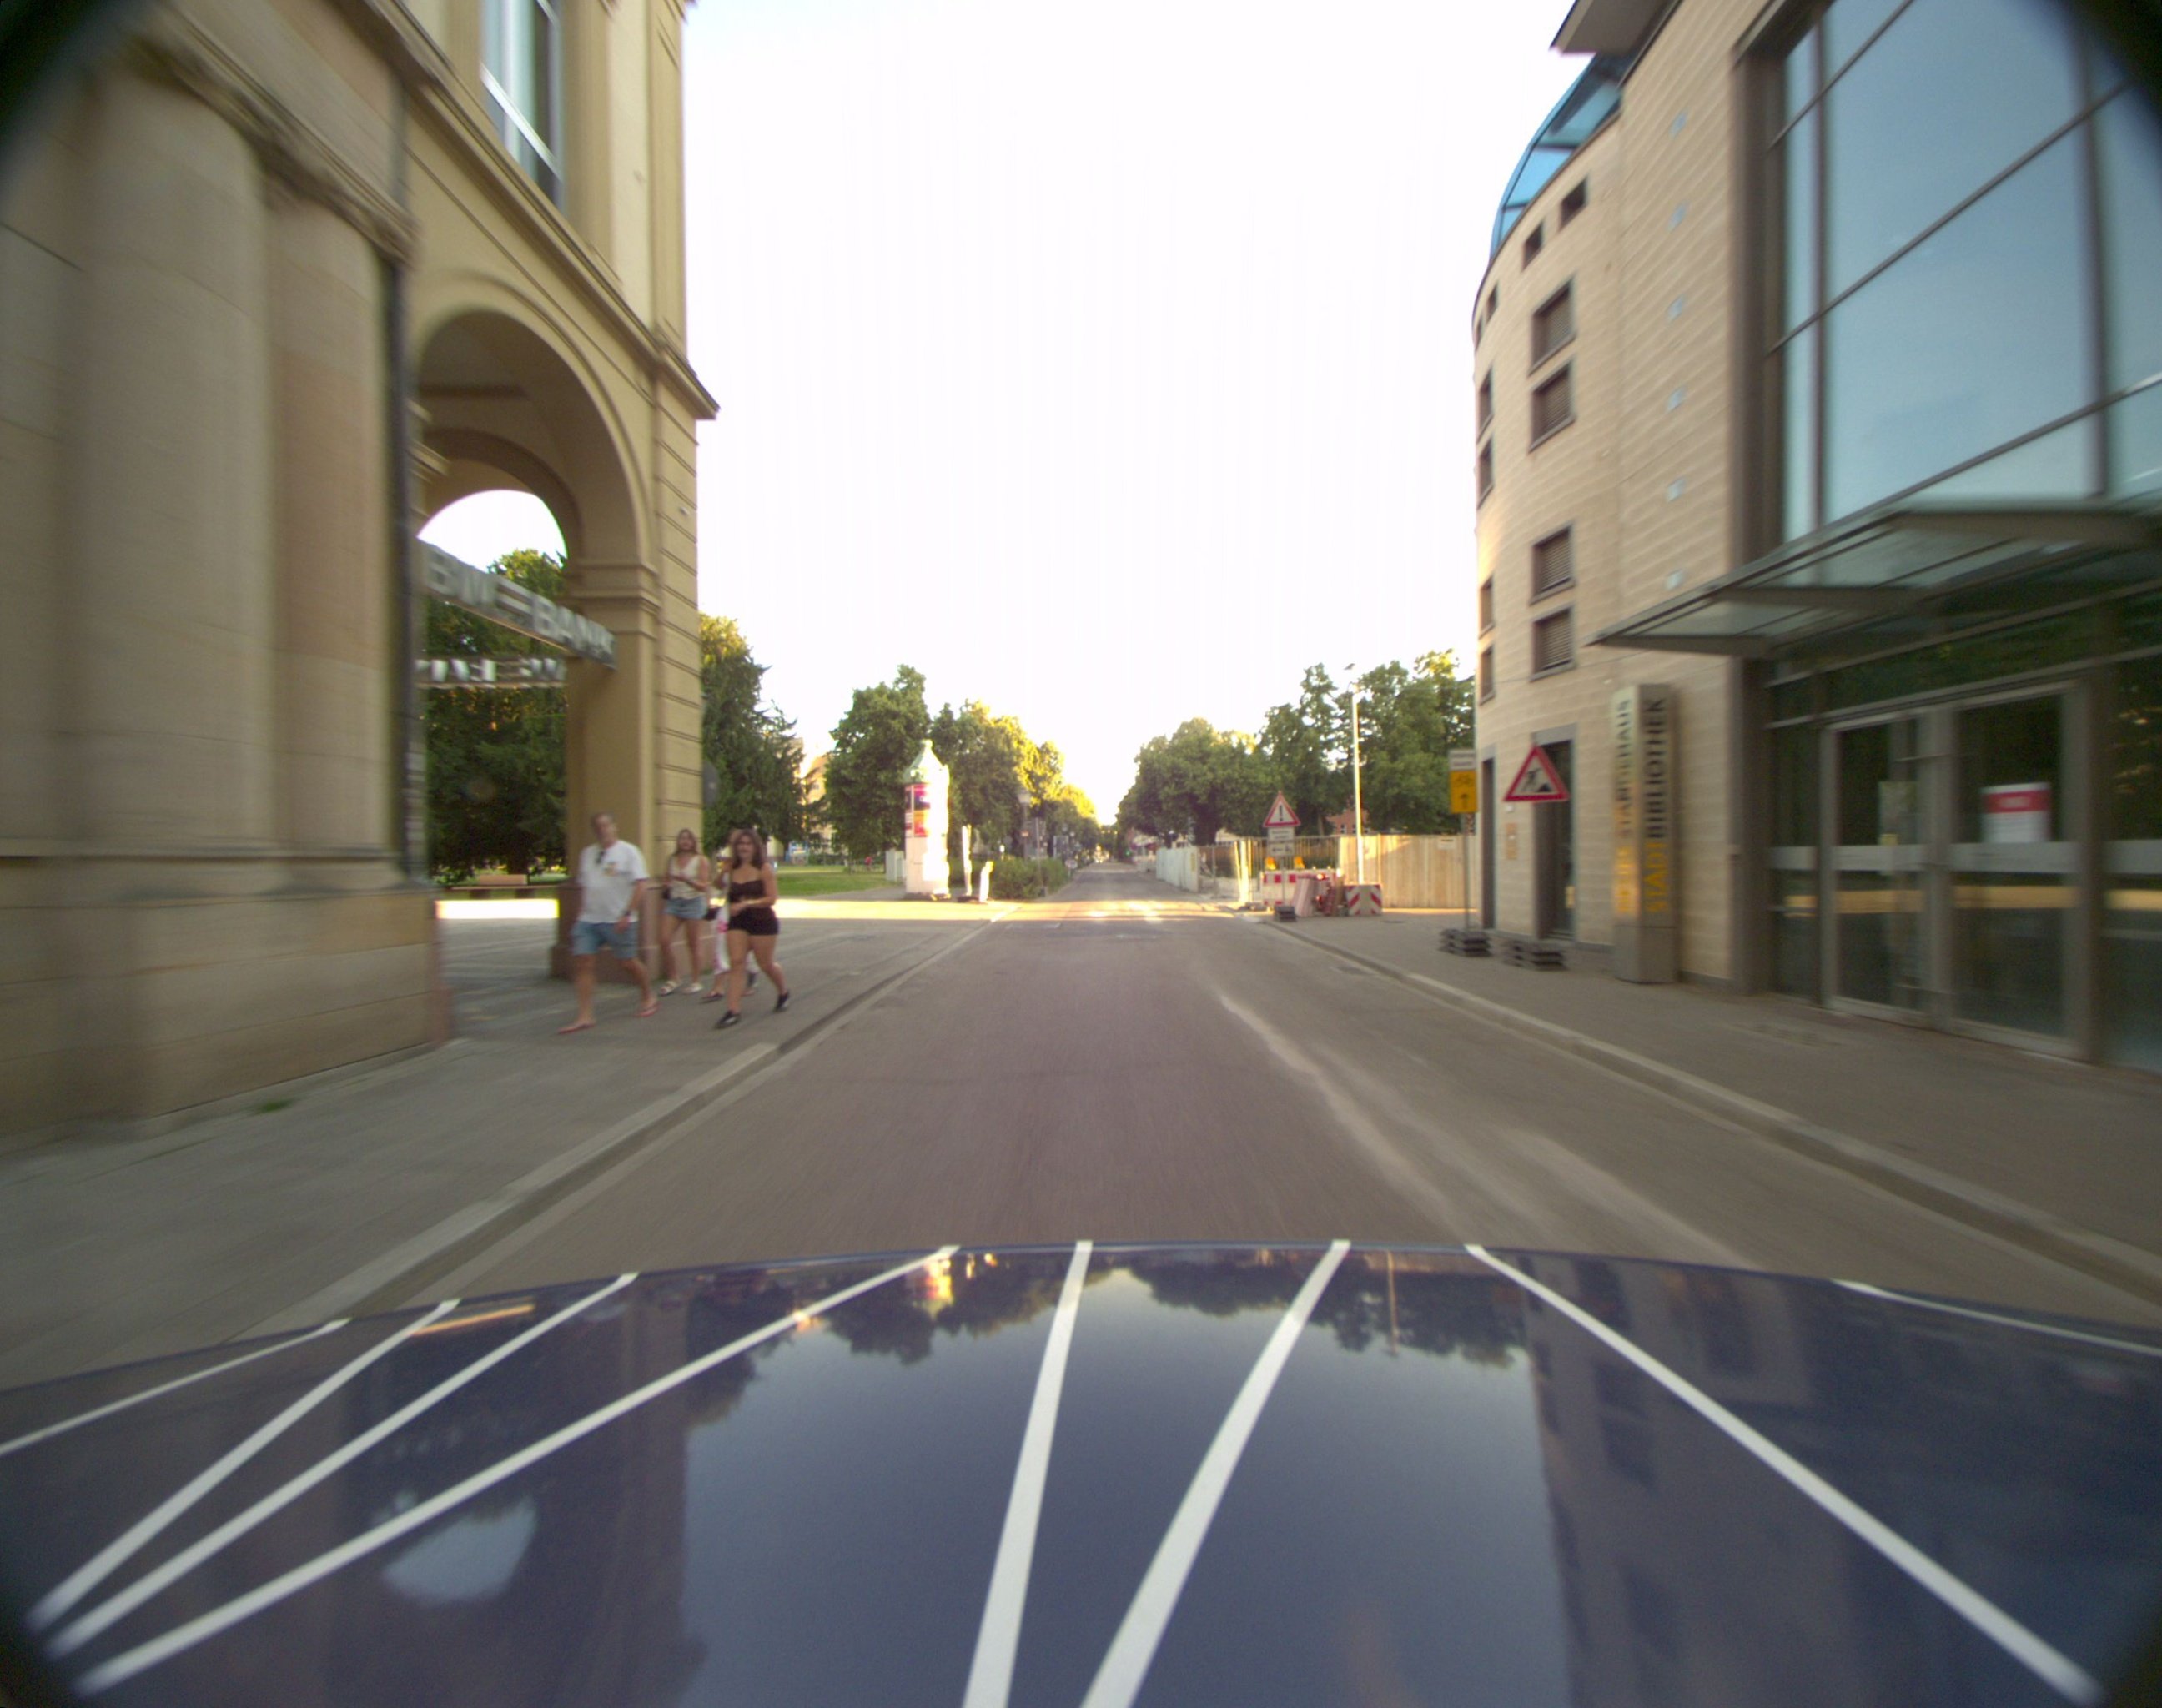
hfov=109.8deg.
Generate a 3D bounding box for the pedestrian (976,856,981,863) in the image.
[{"bbox_3d":[-16.094,0.852,118.920,0.605,1.195,0.394,-1,1,-39],"label":"pedestrian"}]

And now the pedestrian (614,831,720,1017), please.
[{"bbox_3d":[-4.165,0.677,7.696,0.638,1.793,0.772,0,1,1],"label":"pedestrian"}]

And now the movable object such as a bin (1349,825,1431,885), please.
[{"bbox_3d":[13.921,0.033,34.379,2.161,2.588,2.742,-1,1,-21],"label":"movable object such as a bin"}]

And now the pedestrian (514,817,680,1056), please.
[{"bbox_3d":[-4.008,0.644,6.369,0.814,1.864,0.875,0,1,1],"label":"pedestrian"}]

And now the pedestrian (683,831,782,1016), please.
[{"bbox_3d":[-3.511,0.669,7.712,0.638,1.793,0.772,0,1,1],"label":"pedestrian"}]

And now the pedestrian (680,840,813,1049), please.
[{"bbox_3d":[-2.926,0.748,6.735,0.777,1.736,0.875,0,1,1],"label":"pedestrian"}]

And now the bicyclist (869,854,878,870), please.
[{"bbox_3d":[-21.058,0.841,77.039,0.678,1.622,0.657,0,1,-33],"label":"bicyclist"}]

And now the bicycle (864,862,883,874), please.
[{"bbox_3d":[-21.041,1.392,77.056,1.778,1.170,0.564,0,1,-33],"label":"bicycle"}]
